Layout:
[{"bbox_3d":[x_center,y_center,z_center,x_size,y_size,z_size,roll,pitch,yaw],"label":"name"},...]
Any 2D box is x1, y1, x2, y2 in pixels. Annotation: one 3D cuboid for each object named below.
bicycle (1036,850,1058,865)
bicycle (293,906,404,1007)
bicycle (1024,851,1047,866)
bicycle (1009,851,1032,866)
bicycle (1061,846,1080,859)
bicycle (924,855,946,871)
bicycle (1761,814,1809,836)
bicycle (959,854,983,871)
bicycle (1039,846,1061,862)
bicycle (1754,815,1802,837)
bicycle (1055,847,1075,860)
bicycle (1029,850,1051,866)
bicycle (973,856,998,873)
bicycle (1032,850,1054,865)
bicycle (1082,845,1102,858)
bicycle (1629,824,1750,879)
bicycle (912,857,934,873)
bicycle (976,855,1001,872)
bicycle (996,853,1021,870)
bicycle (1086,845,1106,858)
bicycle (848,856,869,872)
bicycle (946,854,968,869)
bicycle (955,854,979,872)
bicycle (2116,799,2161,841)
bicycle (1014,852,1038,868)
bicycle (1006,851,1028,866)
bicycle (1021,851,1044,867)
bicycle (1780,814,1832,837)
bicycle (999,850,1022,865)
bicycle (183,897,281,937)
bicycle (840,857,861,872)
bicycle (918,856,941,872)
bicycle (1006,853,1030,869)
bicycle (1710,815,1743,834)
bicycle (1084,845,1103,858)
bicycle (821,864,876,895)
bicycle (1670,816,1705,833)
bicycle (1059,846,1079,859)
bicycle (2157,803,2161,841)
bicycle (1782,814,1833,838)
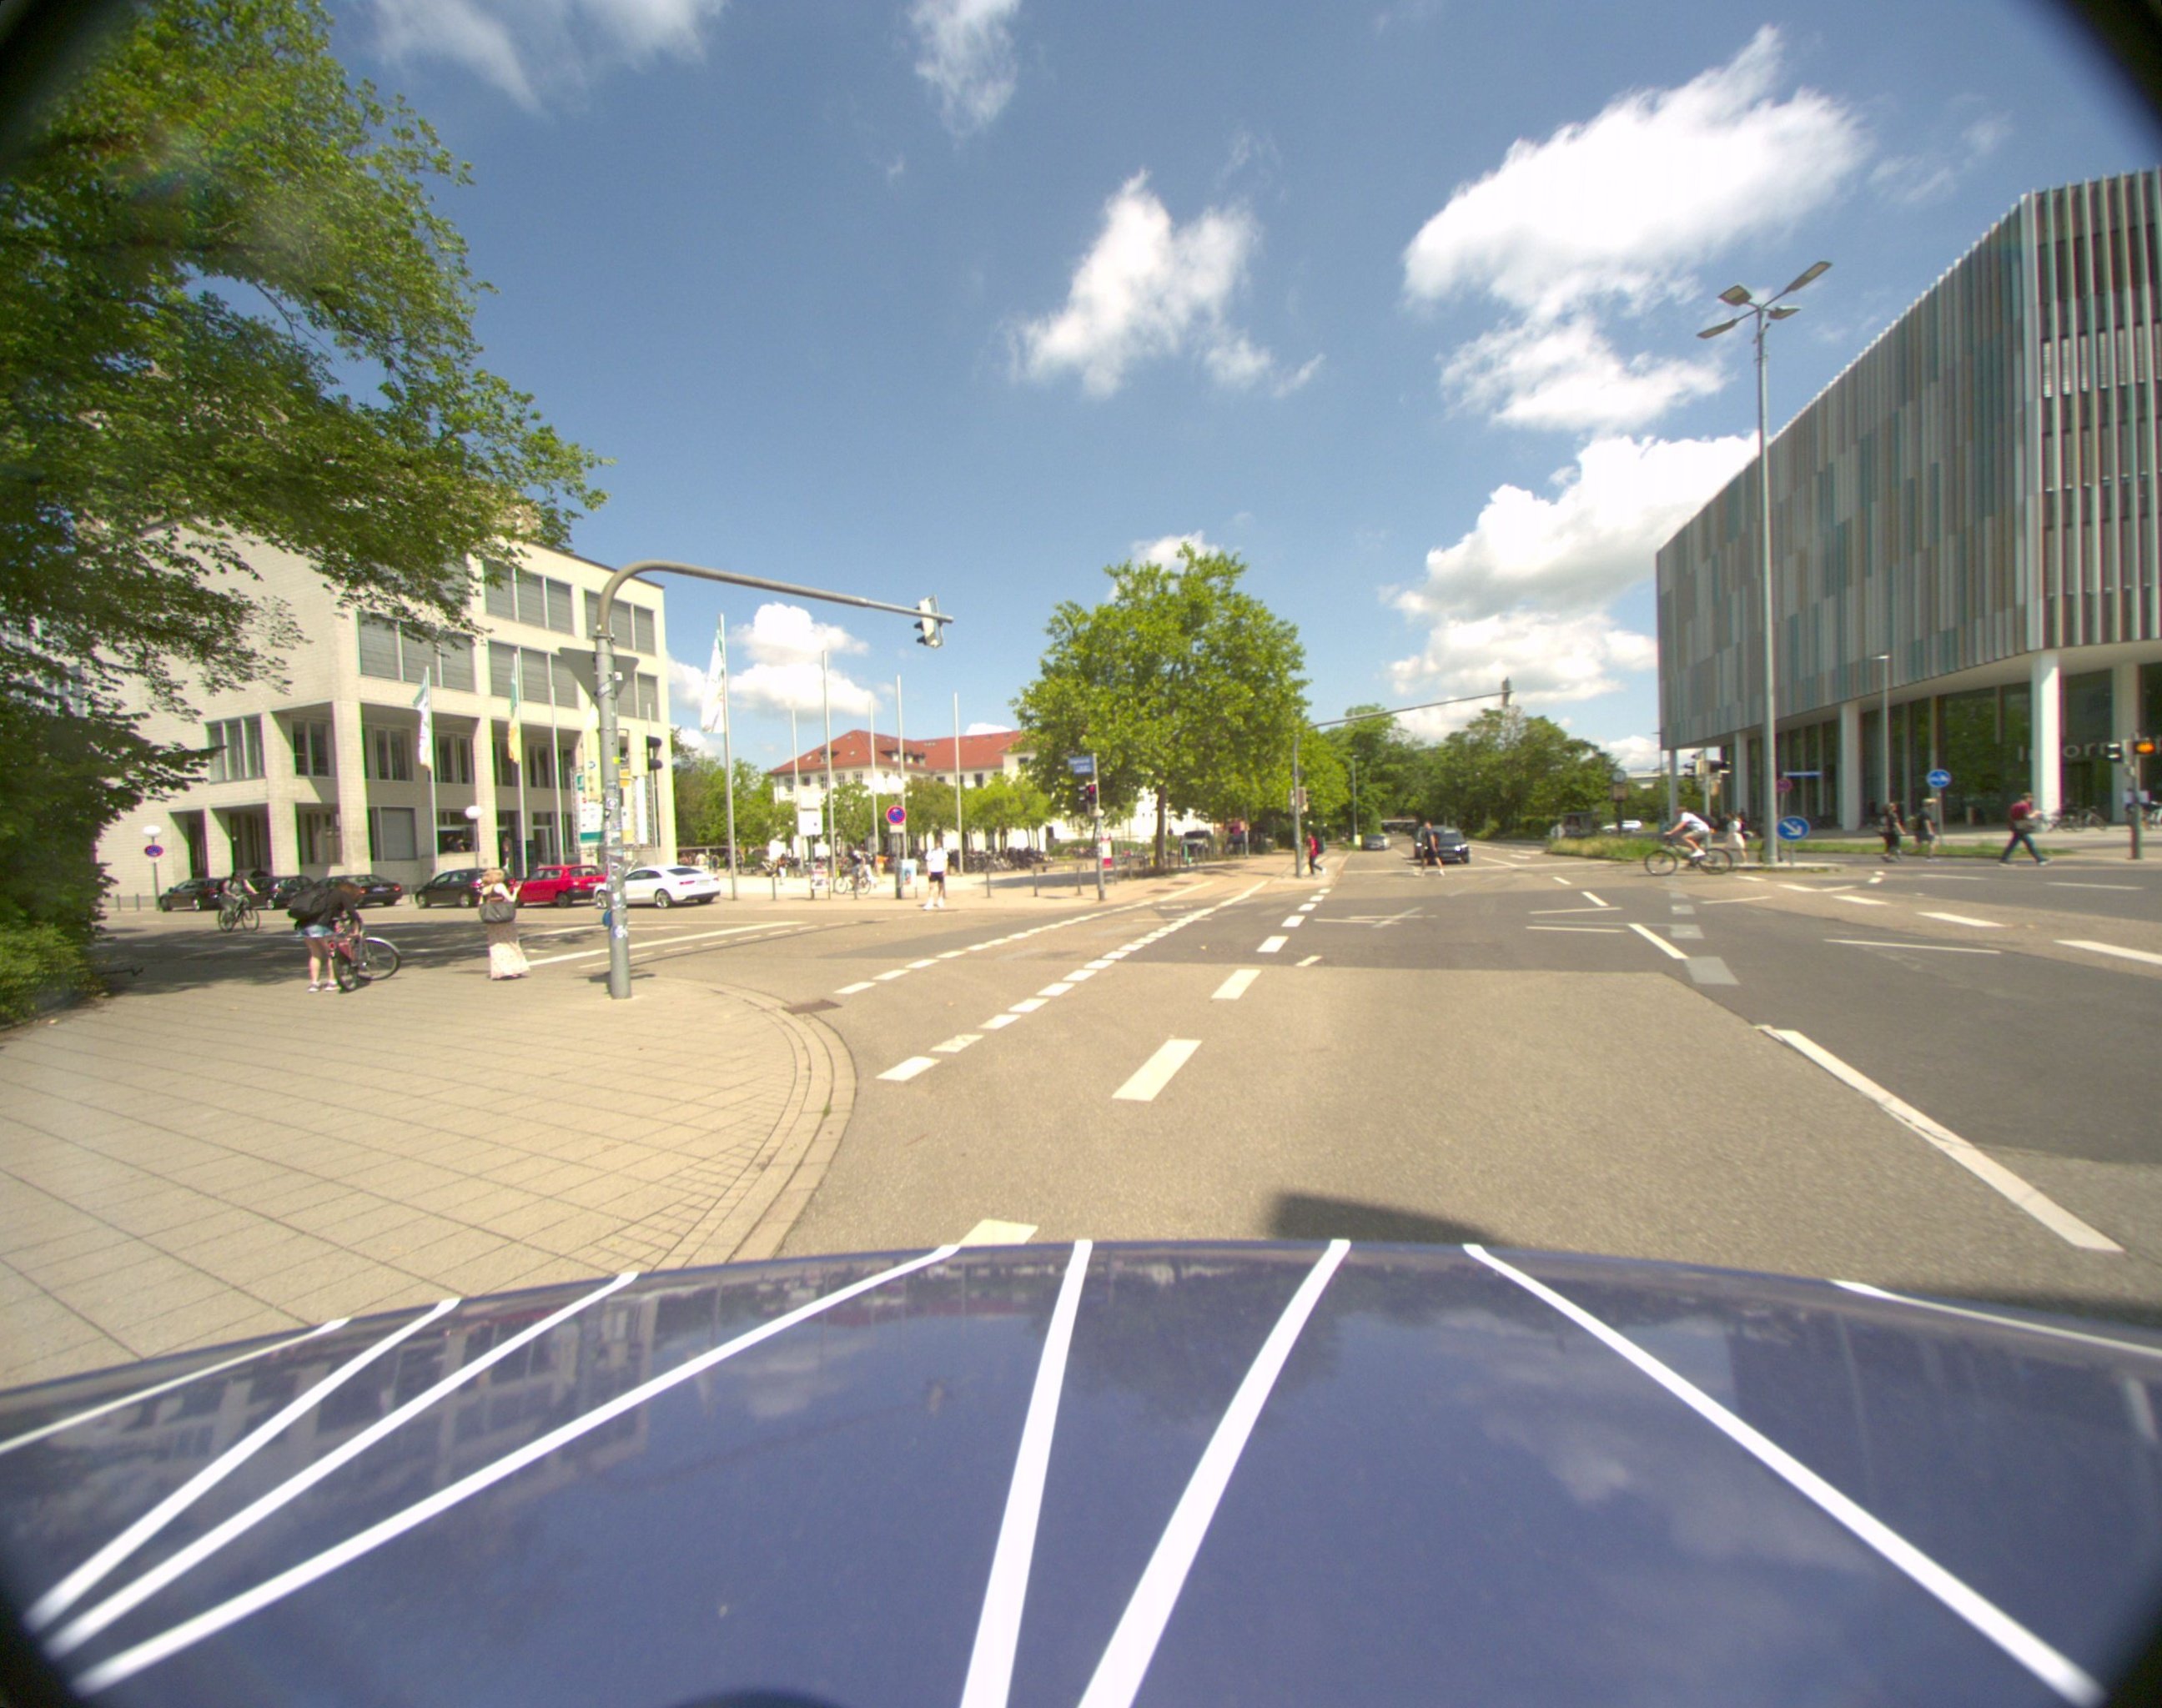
[{"bbox_3d":[-2.215,0.208,50.142,1.369,0.946,0.352,-2,1,18],"label":"bicycle"},{"bbox_3d":[-9.715,1.309,10.148,0.673,1.136,1.660,-1,-1,-30],"label":"bicycle"},{"bbox_3d":[-2.902,0.296,48.634,1.369,0.946,0.352,-2,1,18],"label":"bicycle"},{"bbox_3d":[-4.017,0.281,50.423,1.410,0.946,0.352,-2,1,18],"label":"bicycle"},{"bbox_3d":[-0.808,-0.117,59.328,1.426,0.946,0.352,-2,1,18],"label":"bicycle"},{"bbox_3d":[-8.975,0.578,46.787,1.368,0.946,0.353,-2,2,27],"label":"bicycle"},{"bbox_3d":[52.203,-2.138,56.347,2.507,1.486,0.622,-2,2,24],"label":"bicycle"},{"bbox_3d":[-6.586,0.507,45.439,1.369,0.995,0.352,-2,1,18],"label":"bicycle"},{"bbox_3d":[-2.061,0.002,50.755,1.369,0.946,0.352,-2,2,18],"label":"bicycle"},{"bbox_3d":[51.170,-2.076,55.813,2.507,1.486,0.622,-2,2,24],"label":"bicycle"},{"bbox_3d":[-1.238,-0.070,58.338,1.426,0.946,0.352,-2,1,18],"label":"bicycle"},{"bbox_3d":[-2.665,0.253,49.249,1.369,0.946,0.352,-2,1,18],"label":"bicycle"},{"bbox_3d":[-5.445,0.589,43.256,1.369,0.946,0.352,-2,1,18],"label":"bicycle"},{"bbox_3d":[-2.511,0.233,49.719,1.369,0.946,0.352,-2,1,18],"label":"bicycle"},{"bbox_3d":[0.815,-0.182,57.911,1.426,0.946,0.352,-2,1,18],"label":"bicycle"},{"bbox_3d":[15.046,-0.065,18.855,2.160,1.245,0.886,-2,2,23],"label":"bicycle"},{"bbox_3d":[-9.559,0.660,45.955,1.368,0.946,0.353,-2,2,27],"label":"bicycle"},{"bbox_3d":[-5.319,0.569,43.820,1.369,0.941,0.352,-2,1,18],"label":"bicycle"},{"bbox_3d":[-4.296,0.446,45.072,1.369,0.946,0.352,-2,1,18],"label":"bicycle"},{"bbox_3d":[1.174,-0.196,58.945,1.426,0.946,0.352,-2,1,18],"label":"bicycle"},{"bbox_3d":[-14.186,0.636,48.524,1.368,0.946,0.353,-2,2,27],"label":"bicycle"},{"bbox_3d":[-8.164,0.483,50.165,1.369,0.946,0.352,-2,1,15],"label":"bicycle"},{"bbox_3d":[-6.757,0.536,44.961,1.369,0.995,0.352,-2,1,18],"label":"bicycle"},{"bbox_3d":[43.940,-1.424,31.360,3.419,1.634,0.809,-3,1,-25],"label":"bicycle"},{"bbox_3d":[-3.359,0.374,46.108,1.369,0.946,0.352,-2,1,18],"label":"bicycle"},{"bbox_3d":[-4.210,0.305,49.918,1.410,0.946,0.352,-2,1,18],"label":"bicycle"},{"bbox_3d":[-3.095,0.341,48.011,1.369,0.946,0.352,-2,2,18],"label":"bicycle"},{"bbox_3d":[50.657,-1.977,53.113,2.506,1.486,0.731,-2,2,34],"label":"bicycle"},{"bbox_3d":[-4.538,0.217,48.819,1.410,0.946,0.352,-2,1,18],"label":"bicycle"},{"bbox_3d":[-23.604,1.746,21.130,2.161,0.993,0.647,-2,1,7],"label":"bicycle"},{"bbox_3d":[-14.550,0.672,47.948,1.368,0.946,0.353,-2,2,27],"label":"bicycle"},{"bbox_3d":[-9.221,0.625,46.283,1.368,0.946,0.353,-2,2,27],"label":"bicycle"},{"bbox_3d":[-3.777,0.410,45.517,1.369,0.946,0.352,-2,1,18],"label":"bicycle"},{"bbox_3d":[54.798,-2.488,64.525,2.067,1.486,0.622,-2,2,24],"label":"bicycle"},{"bbox_3d":[0.947,-0.171,58.410,1.426,0.946,0.352,-2,1,18],"label":"bicycle"},{"bbox_3d":[-8.985,0.977,29.340,2.049,1.128,0.691,-2,1,24],"label":"bicycle"},{"bbox_3d":[57.105,-2.792,71.561,2.507,1.486,0.622,-2,2,24],"label":"bicycle"},{"bbox_3d":[-0.920,-0.101,58.928,1.426,0.946,0.352,-2,1,18],"label":"bicycle"},{"bbox_3d":[44.358,-1.332,30.385,2.690,1.485,0.931,-3,2,-21],"label":"bicycle"},{"bbox_3d":[50.000,-1.922,52.300,2.447,1.486,0.622,-2,2,24],"label":"bicycle"}]
